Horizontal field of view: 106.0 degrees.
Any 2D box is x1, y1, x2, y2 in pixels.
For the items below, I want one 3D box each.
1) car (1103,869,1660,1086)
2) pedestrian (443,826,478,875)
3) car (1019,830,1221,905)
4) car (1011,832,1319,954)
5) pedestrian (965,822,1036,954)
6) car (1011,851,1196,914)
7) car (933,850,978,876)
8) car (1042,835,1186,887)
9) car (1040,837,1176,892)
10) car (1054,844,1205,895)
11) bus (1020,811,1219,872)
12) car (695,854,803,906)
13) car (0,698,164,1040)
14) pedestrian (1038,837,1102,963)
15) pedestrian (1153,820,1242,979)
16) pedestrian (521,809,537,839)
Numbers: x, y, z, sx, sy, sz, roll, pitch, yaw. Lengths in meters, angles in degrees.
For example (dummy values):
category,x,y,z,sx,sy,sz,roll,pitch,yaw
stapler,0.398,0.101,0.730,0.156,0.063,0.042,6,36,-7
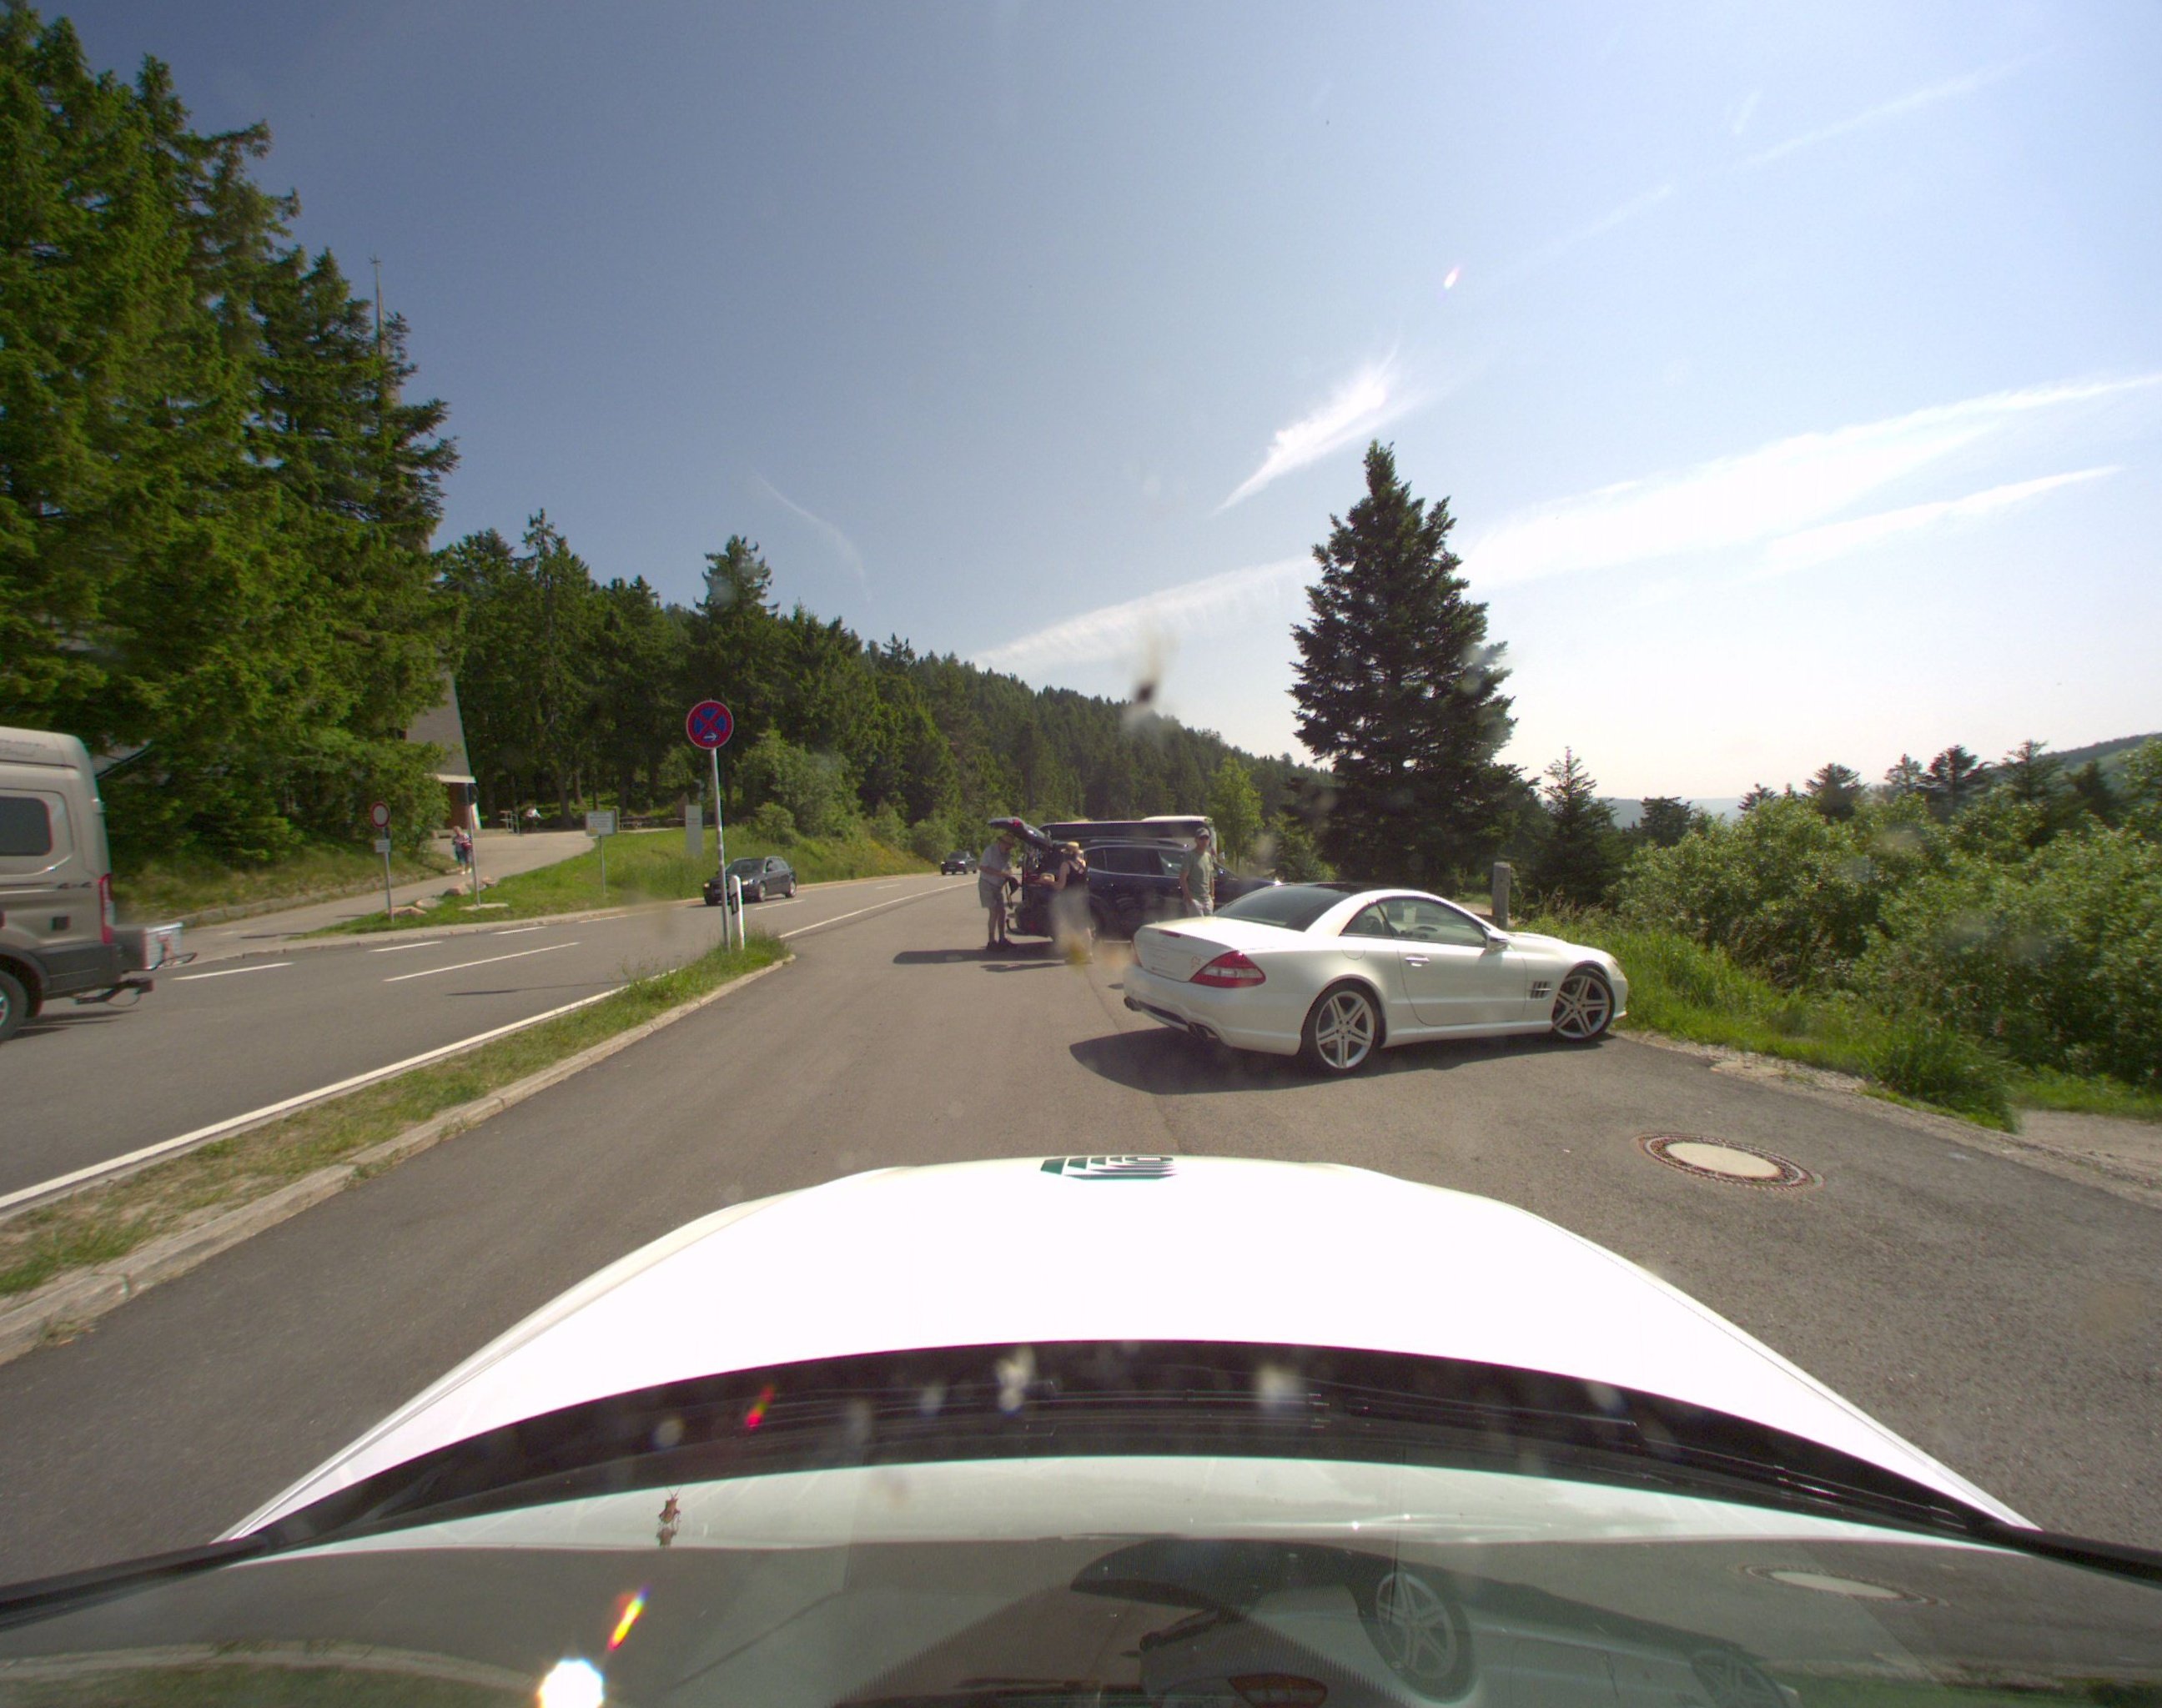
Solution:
category,x,y,z,sx,sy,sz,roll,pitch,yaw
car,2.549,0.821,6.824,4.417,1.296,1.742,1,1,-24
pedestrian,-21.719,-0.126,28.510,0.722,1.681,0.678,-3,0,-20
car,0.981,0.320,21.050,4.931,1.695,1.946,-2,0,1
car,1.150,0.567,12.347,4.339,1.626,1.866,1,-1,-7
pedestrian,-1.184,0.470,12.049,0.728,1.870,0.763,1,3,29
car,0.458,0.625,18.821,4.078,1.376,1.698,0,0,-7
car,-8.912,0.594,58.111,1.983,1.647,4.575,-3,1,6
car,1.174,0.236,29.740,5.019,1.651,2.047,-2,0,-1
car,0.847,0.325,26.619,4.231,1.553,1.837,-2,0,-1
car,1.379,0.442,23.945,4.231,1.269,1.837,-2,0,-1
bus,2.673,-0.813,55.065,13.015,3.532,3.052,-2,0,9
car,-10.739,0.791,26.678,1.701,1.437,4.448,-3,1,-1
car,-9.604,0.173,4.686,2.007,2.751,5.910,-3,1,-3
pedestrian,-0.154,0.596,10.804,0.716,1.613,0.533,0,-1,-21
pedestrian,1.380,0.516,9.706,0.751,1.800,0.728,0,-1,-33
pedestrian,-35.905,-1.932,52.954,0.674,1.877,0.545,-3,0,32
